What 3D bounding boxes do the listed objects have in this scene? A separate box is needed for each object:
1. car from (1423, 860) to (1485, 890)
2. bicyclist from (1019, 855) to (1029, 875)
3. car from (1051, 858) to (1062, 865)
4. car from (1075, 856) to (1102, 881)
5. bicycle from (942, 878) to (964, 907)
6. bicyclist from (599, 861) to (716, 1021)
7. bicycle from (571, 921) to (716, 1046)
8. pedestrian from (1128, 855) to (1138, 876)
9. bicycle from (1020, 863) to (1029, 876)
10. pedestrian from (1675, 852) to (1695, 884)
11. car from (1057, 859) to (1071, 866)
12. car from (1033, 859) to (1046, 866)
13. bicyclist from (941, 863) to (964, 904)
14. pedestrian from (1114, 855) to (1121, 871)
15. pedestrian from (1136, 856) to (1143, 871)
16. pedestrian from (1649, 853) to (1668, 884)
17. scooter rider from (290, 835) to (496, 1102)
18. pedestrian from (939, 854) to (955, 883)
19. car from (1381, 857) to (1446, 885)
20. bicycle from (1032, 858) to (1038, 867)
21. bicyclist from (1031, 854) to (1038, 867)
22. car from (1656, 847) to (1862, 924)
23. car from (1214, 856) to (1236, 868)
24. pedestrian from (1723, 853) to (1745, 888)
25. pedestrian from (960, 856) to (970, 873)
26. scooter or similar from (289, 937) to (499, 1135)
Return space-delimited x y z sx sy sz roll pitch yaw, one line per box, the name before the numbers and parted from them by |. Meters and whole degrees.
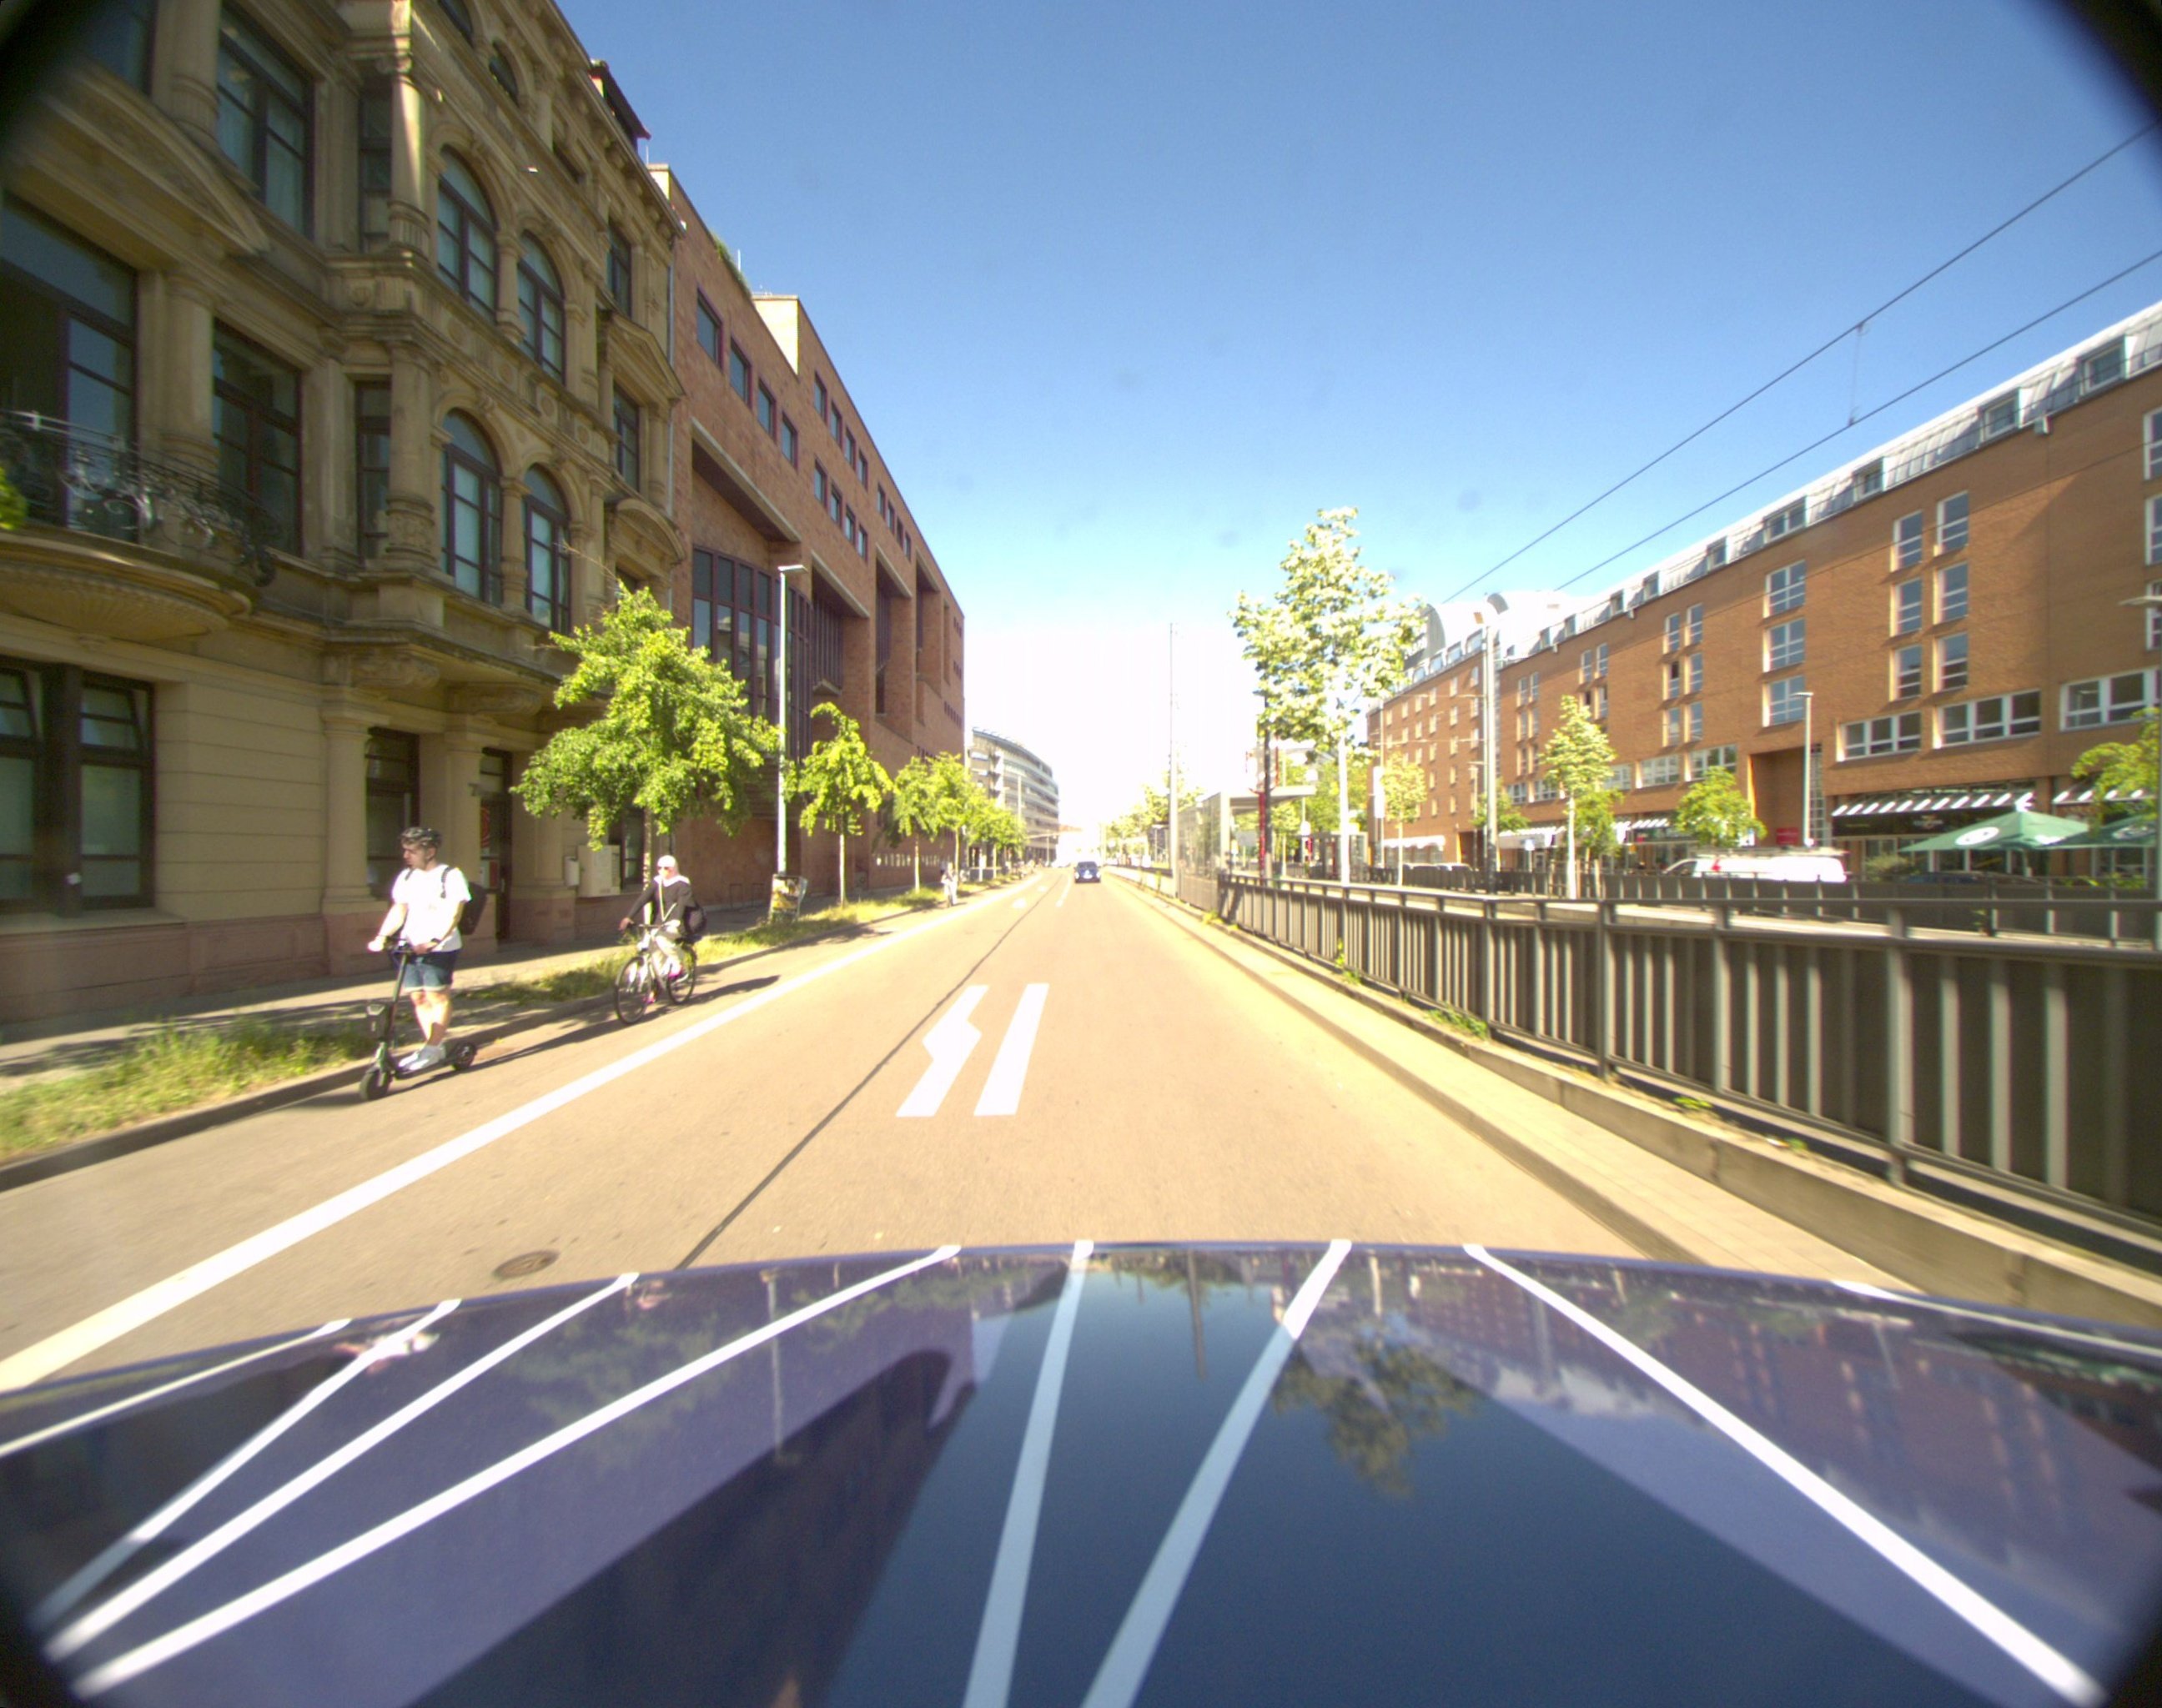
car | 23.877 1.319 48.742 1.998 1.674 3.999 -2 1 0
bicyclist | -4.987 1.002 66.956 0.684 1.718 0.909 -2 0 3
car | -5.535 1.591 169.989 1.882 1.455 4.002 -2 1 7
car | 0.541 1.026 54.249 1.802 1.596 3.999 -2 1 0
bicycle | -4.942 1.459 29.337 0.559 1.021 1.507 -2 0 0
bicyclist | -4.795 0.946 8.667 0.781 1.701 0.868 -2 0 0
bicycle | -4.833 1.377 8.539 0.559 1.086 1.792 -2 0 0
pedestrian | 4.287 0.960 62.485 0.710 1.713 0.752 0 1 -1
bicycle | -4.963 1.379 67.068 0.578 1.090 1.507 -2 0 2
pedestrian | 35.120 0.808 44.188 0.622 1.829 0.644 0 0 -1
car | -3.500 1.704 154.197 2.120 1.547 4.003 0 0 9
car | -8.489 1.725 154.691 1.882 1.455 4.002 -2 1 7
bicyclist | -4.956 1.140 29.372 0.659 1.528 0.909 -2 0 0
pedestrian | 3.826 0.978 80.648 0.649 1.733 0.820 -1 0 -3
pedestrian | 6.232 1.025 80.337 0.610 1.560 0.908 -1 0 -3
pedestrian | 34.338 0.859 45.170 0.622 1.829 0.644 0 0 -1
scooter rider | -5.178 0.807 5.786 0.668 1.850 0.901 -2 0 0
pedestrian | -8.640 0.906 49.024 0.790 1.872 1.106 0 0 0
car | 17.680 0.877 40.542 1.699 1.279 3.960 -2 1 0
bicycle | -5.869 1.099 97.206 0.578 1.090 1.507 -2 0 3
bicyclist | -5.922 0.851 97.141 0.755 1.607 0.762 -2 0 3
car | 17.788 0.748 20.250 1.824 1.784 4.088 -2 1 0
car | 18.067 0.992 95.465 1.936 1.489 4.289 0 0 1
pedestrian | 34.557 0.853 40.229 0.622 1.829 0.645 0 0 0
pedestrian | -10.866 0.989 71.210 0.790 1.610 0.976 0 0 -2
scooter or similar | -5.167 1.317 5.808 0.492 1.219 1.170 -2 0 0
